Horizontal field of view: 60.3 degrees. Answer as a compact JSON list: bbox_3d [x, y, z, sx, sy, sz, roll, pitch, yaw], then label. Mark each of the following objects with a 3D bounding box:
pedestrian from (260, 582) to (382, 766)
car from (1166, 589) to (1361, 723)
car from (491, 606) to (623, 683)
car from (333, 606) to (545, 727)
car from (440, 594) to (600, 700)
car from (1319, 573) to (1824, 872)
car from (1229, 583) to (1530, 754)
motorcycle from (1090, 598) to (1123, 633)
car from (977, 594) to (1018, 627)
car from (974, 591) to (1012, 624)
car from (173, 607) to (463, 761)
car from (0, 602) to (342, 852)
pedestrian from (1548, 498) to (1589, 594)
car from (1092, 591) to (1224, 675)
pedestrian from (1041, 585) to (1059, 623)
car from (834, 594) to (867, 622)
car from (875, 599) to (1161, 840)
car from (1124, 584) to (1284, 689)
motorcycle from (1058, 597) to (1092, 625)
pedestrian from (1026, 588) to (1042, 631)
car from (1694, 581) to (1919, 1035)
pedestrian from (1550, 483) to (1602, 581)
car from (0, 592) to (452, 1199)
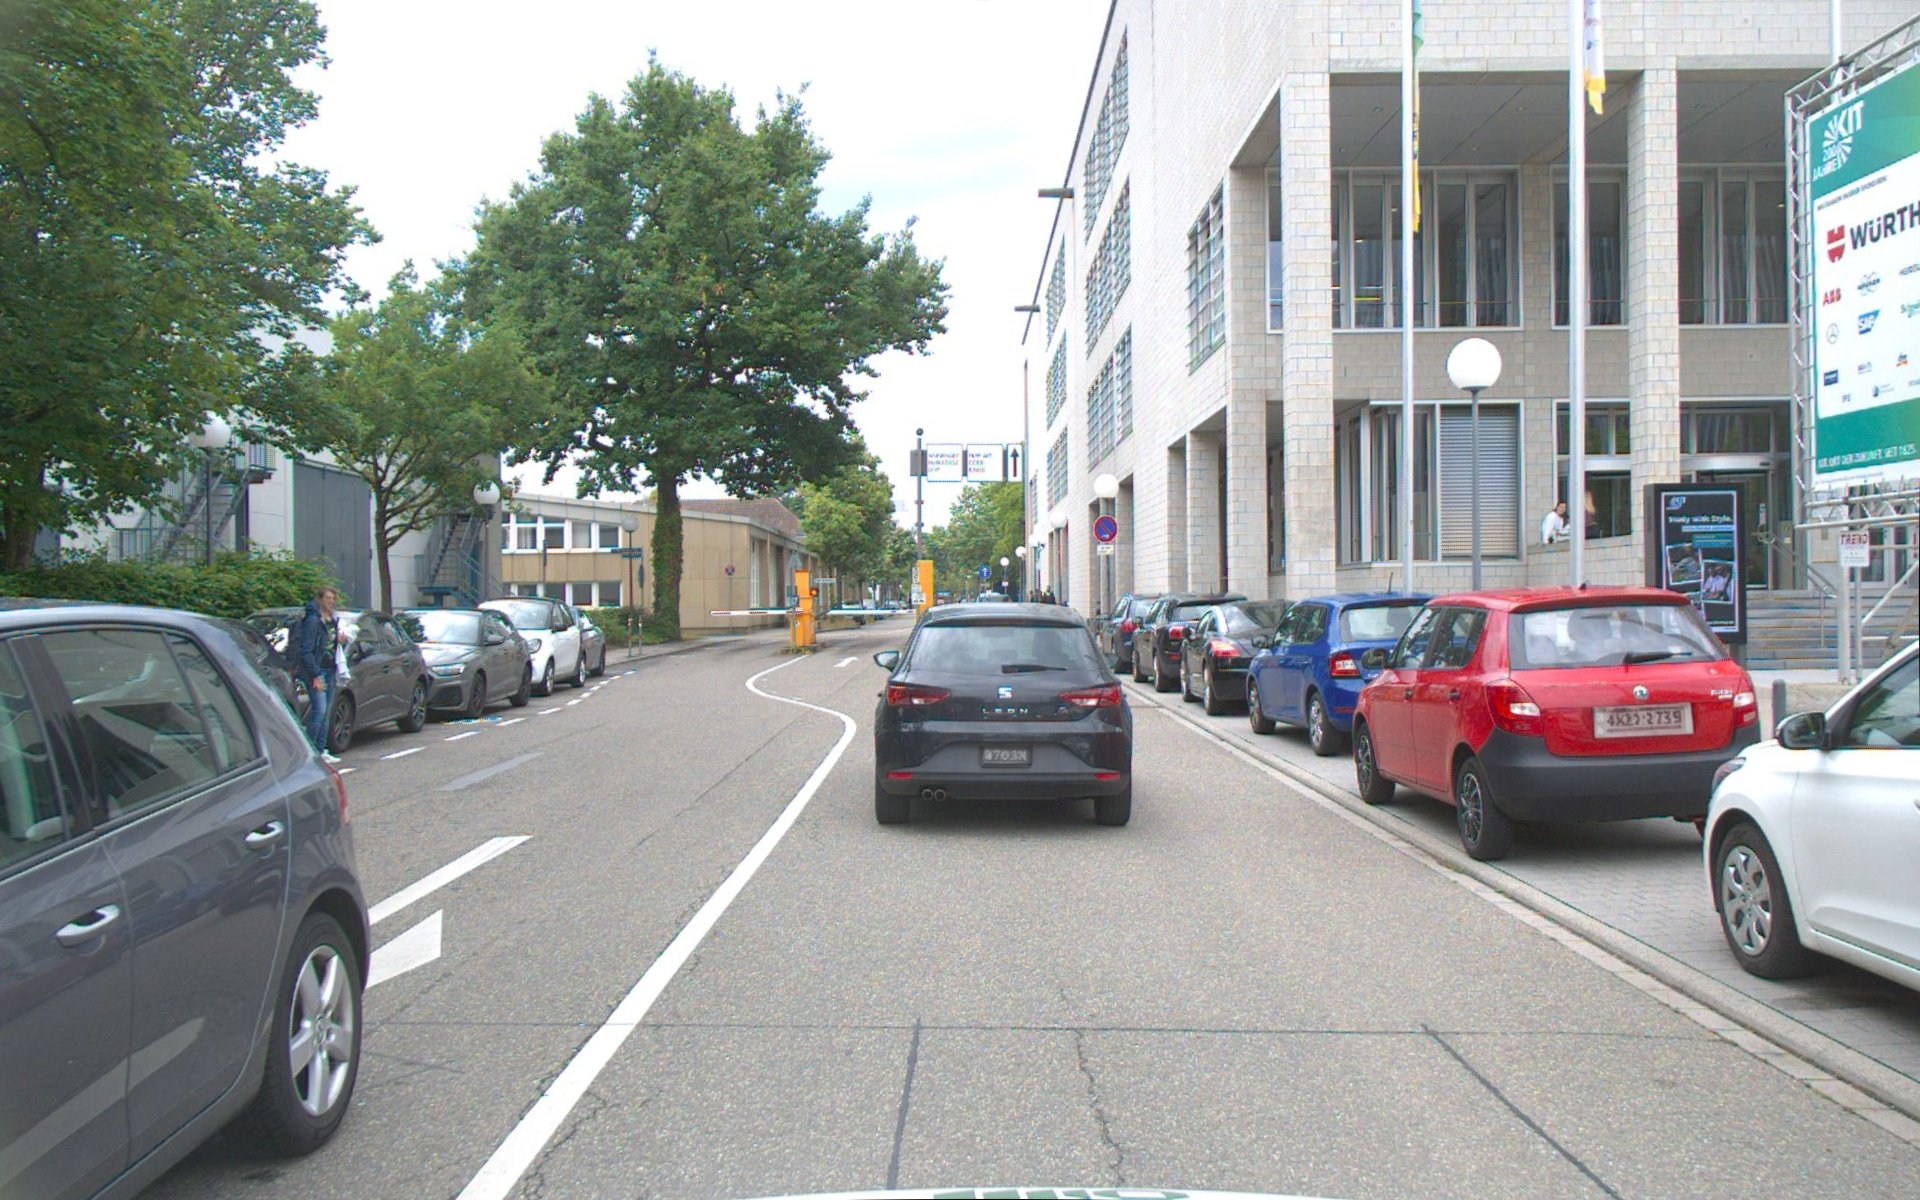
[{"bbox_3d":[-6.141,0.688,15.942,0.723,1.690,0.968,-2,1,2],"label":"pedestrian"},{"bbox_3d":[3.867,0.645,21.798,1.810,1.467,4.420,-1,2,1],"label":"car"},{"bbox_3d":[-7.995,0.841,33.141,1.781,1.413,4.192,0,0,-3],"label":"car"},{"bbox_3d":[-7.023,0.837,22.717,1.728,1.436,4.007,-1,1,-2],"label":"car"},{"bbox_3d":[-7.282,0.726,27.736,1.681,1.613,3.877,0,1,-1],"label":"car"},{"bbox_3d":[3.724,0.635,10.946,1.677,1.499,4.273,-3,0,0],"label":"car"},{"bbox_3d":[4.019,0.607,16.620,1.661,1.436,4.373,-2,0,-3],"label":"car"},{"bbox_3d":[5.468,0.567,61.639,0.554,1.168,2.216,1,2,24],"label":"motorcycle"},{"bbox_3d":[1.948,0.553,87.071,1.953,1.651,4.427,-2,-1,-1],"label":"car"},{"bbox_3d":[1.795,0.404,91.599,1.953,1.651,4.428,-3,0,0],"label":"car"},{"bbox_3d":[-7.004,0.847,18.473,1.726,1.497,3.824,-1,0,0],"label":"car"},{"bbox_3d":[-6.676,0.861,13.221,1.761,1.588,4.530,-1,1,0],"label":"car"},{"bbox_3d":[10.929,-0.971,29.721,0.616,1.687,0.808,1,2,16],"label":"pedestrian"},{"bbox_3d":[3.796,0.607,32.524,1.953,1.477,4.922,-1,0,0],"label":"car"},{"bbox_3d":[4.138,0.168,76.107,0.713,1.728,0.587,0,2,-6],"label":"pedestrian"},{"bbox_3d":[-6.534,0.453,99.011,1.734,1.629,3.999,-1,0,-1],"label":"car"},{"bbox_3d":[0.340,0.731,12.229,1.746,1.444,4.129,0,0,-1],"label":"car"},{"bbox_3d":[3.831,0.530,26.689,1.781,1.468,4.519,-3,0,-1],"label":"car"},{"bbox_3d":[5.468,0.507,78.228,0.744,1.168,2.662,1,2,24],"label":"motorcycle"},{"bbox_3d":[3.056,0.383,68.327,0.682,1.744,0.489,0,0,2],"label":"pedestrian"},{"bbox_3d":[4.026,0.662,5.059,1.822,1.478,3.858,-1,0,0],"label":"car"},{"bbox_3d":[10.736,-1.185,28.806,0.788,1.687,0.631,1,2,25],"label":"pedestrian"},{"bbox_3d":[-2.448,0.773,3.018,1.746,1.523,4.167,-1,0,0],"label":"car"}]
